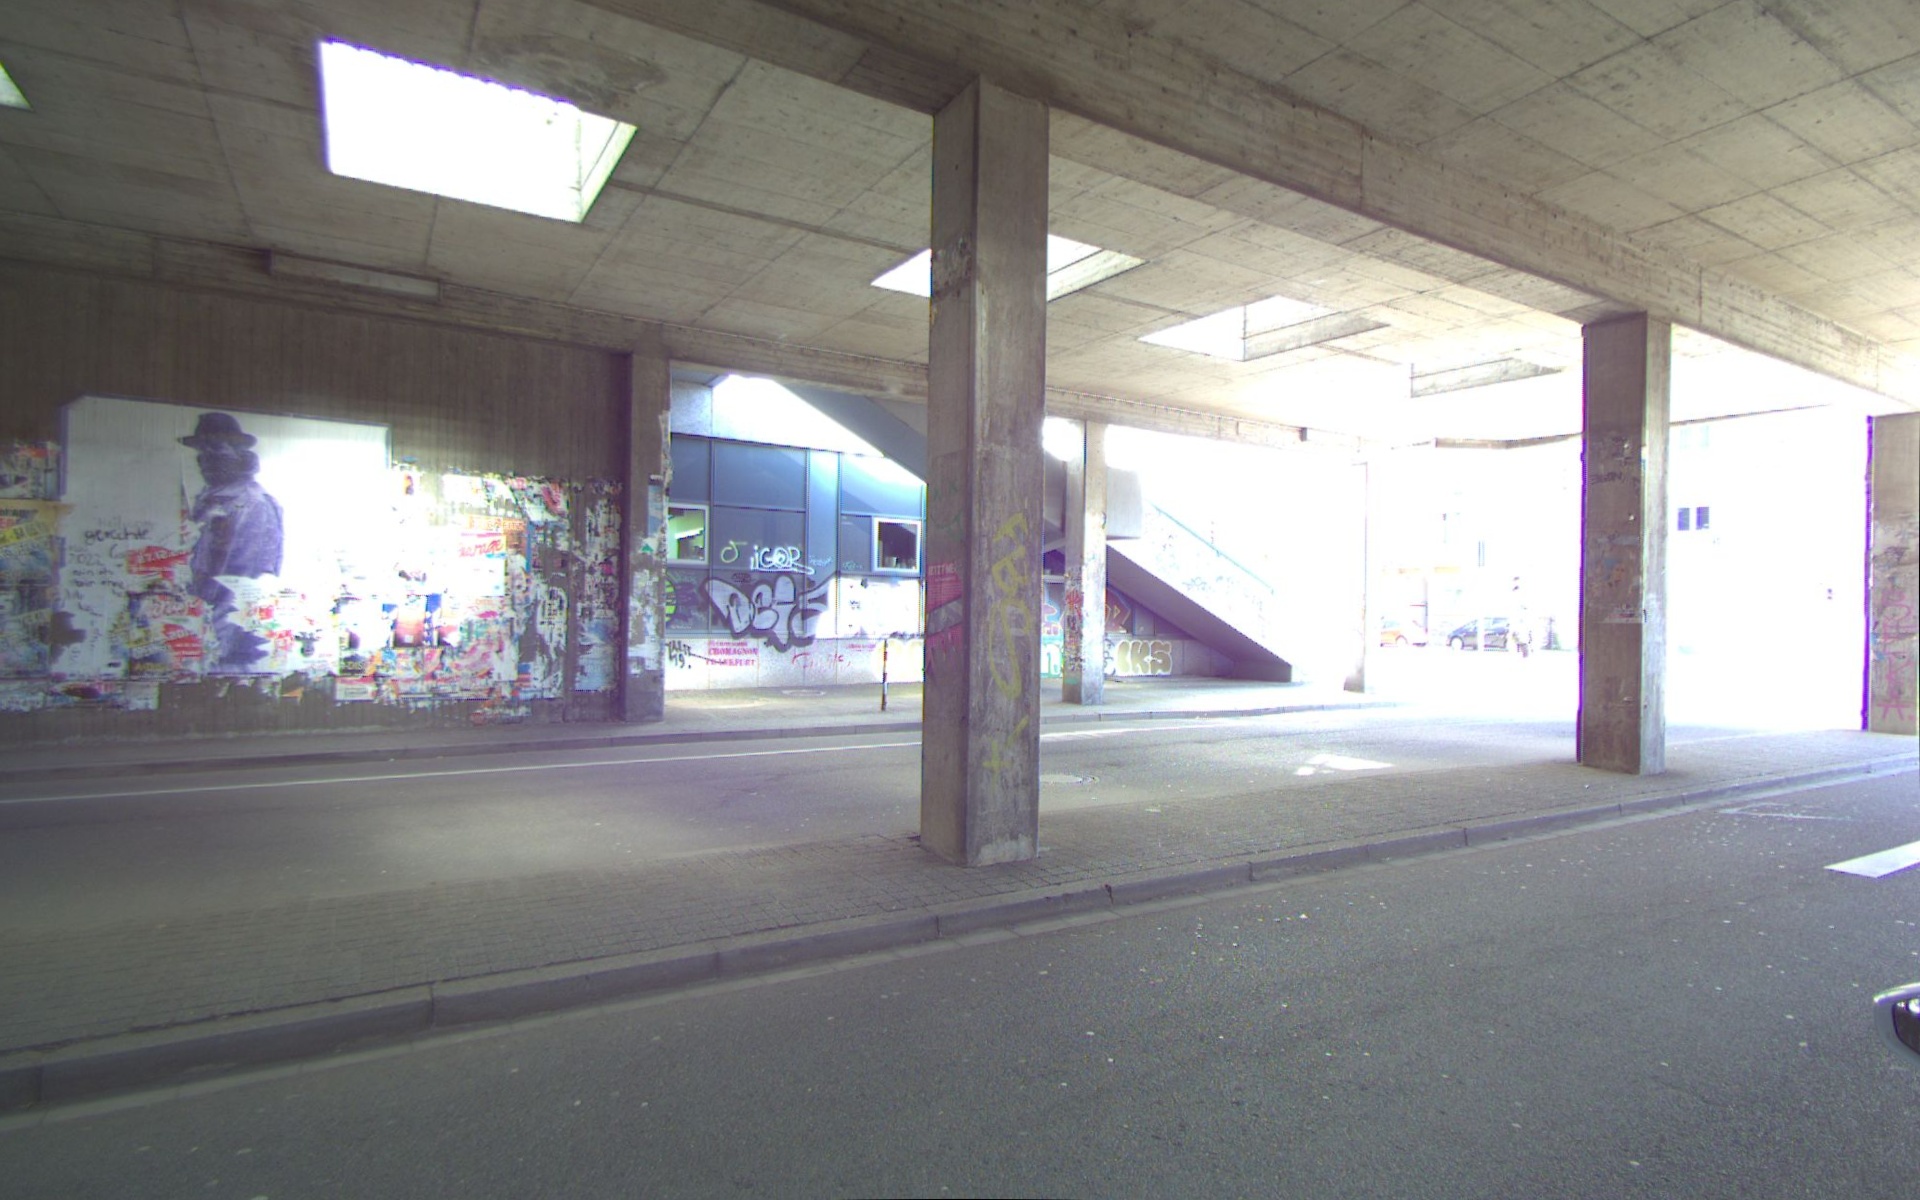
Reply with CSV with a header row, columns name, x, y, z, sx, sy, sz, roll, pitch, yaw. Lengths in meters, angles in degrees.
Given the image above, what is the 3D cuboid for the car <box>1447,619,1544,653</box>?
name,x,y,z,sx,sy,sz,roll,pitch,yaw
car,25.394,1.676,47.742,1.732,1.528,3.735,1,-1,-31

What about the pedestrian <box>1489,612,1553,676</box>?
name,x,y,z,sx,sy,sz,roll,pitch,yaw
pedestrian,15.816,1.218,28.343,1.123,1.760,1.111,1,-1,-17

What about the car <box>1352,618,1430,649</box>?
name,x,y,z,sx,sy,sz,roll,pitch,yaw
car,22.462,1.725,52.451,1.543,1.526,3.518,1,-1,-29
